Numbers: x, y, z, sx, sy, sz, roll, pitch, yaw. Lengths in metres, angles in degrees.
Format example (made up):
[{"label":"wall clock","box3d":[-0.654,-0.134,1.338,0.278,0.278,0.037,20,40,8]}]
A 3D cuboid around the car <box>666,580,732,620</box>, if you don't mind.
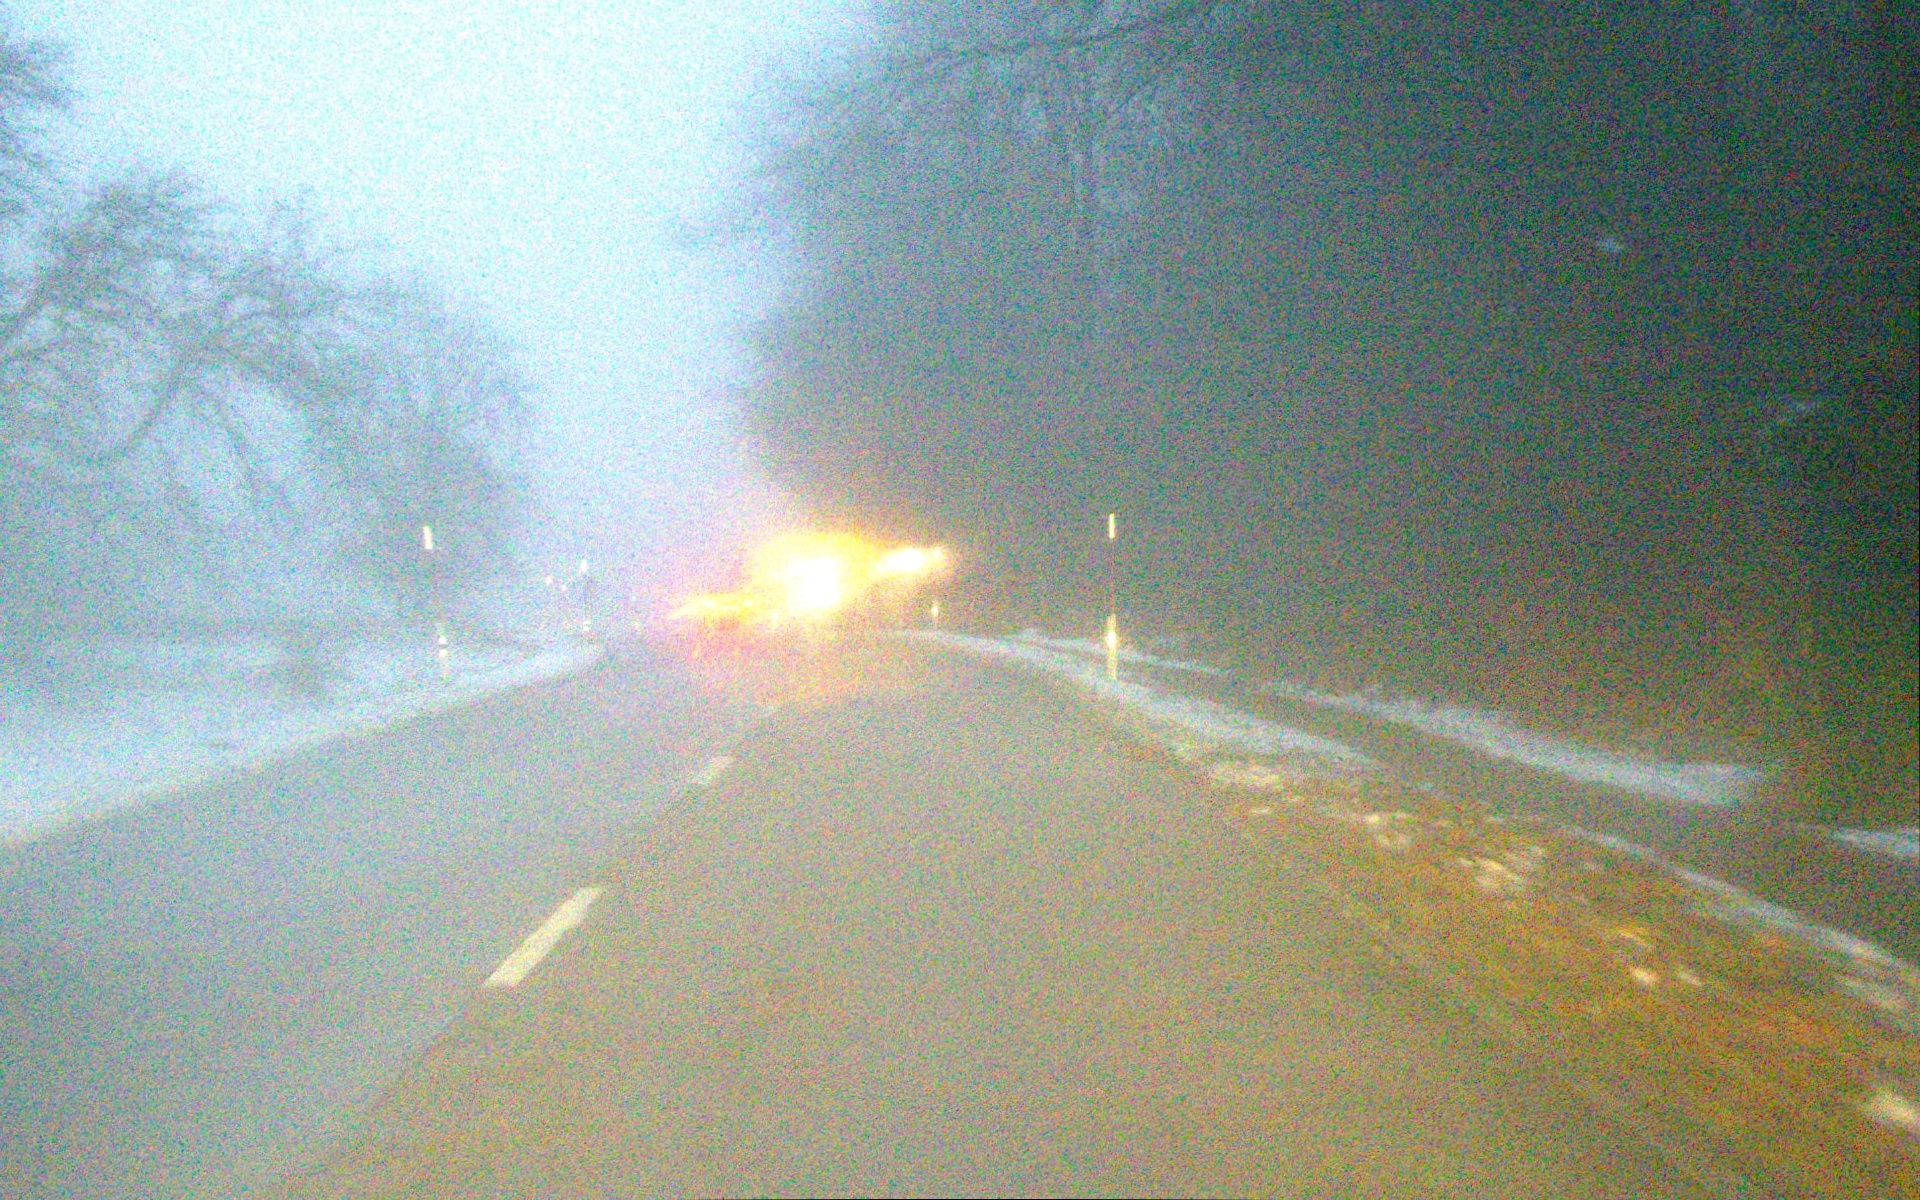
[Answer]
[{"label":"car","box3d":[-8.715,-0.017,115.022,1.922,1.272,4.000,-1,0,-1]}]
